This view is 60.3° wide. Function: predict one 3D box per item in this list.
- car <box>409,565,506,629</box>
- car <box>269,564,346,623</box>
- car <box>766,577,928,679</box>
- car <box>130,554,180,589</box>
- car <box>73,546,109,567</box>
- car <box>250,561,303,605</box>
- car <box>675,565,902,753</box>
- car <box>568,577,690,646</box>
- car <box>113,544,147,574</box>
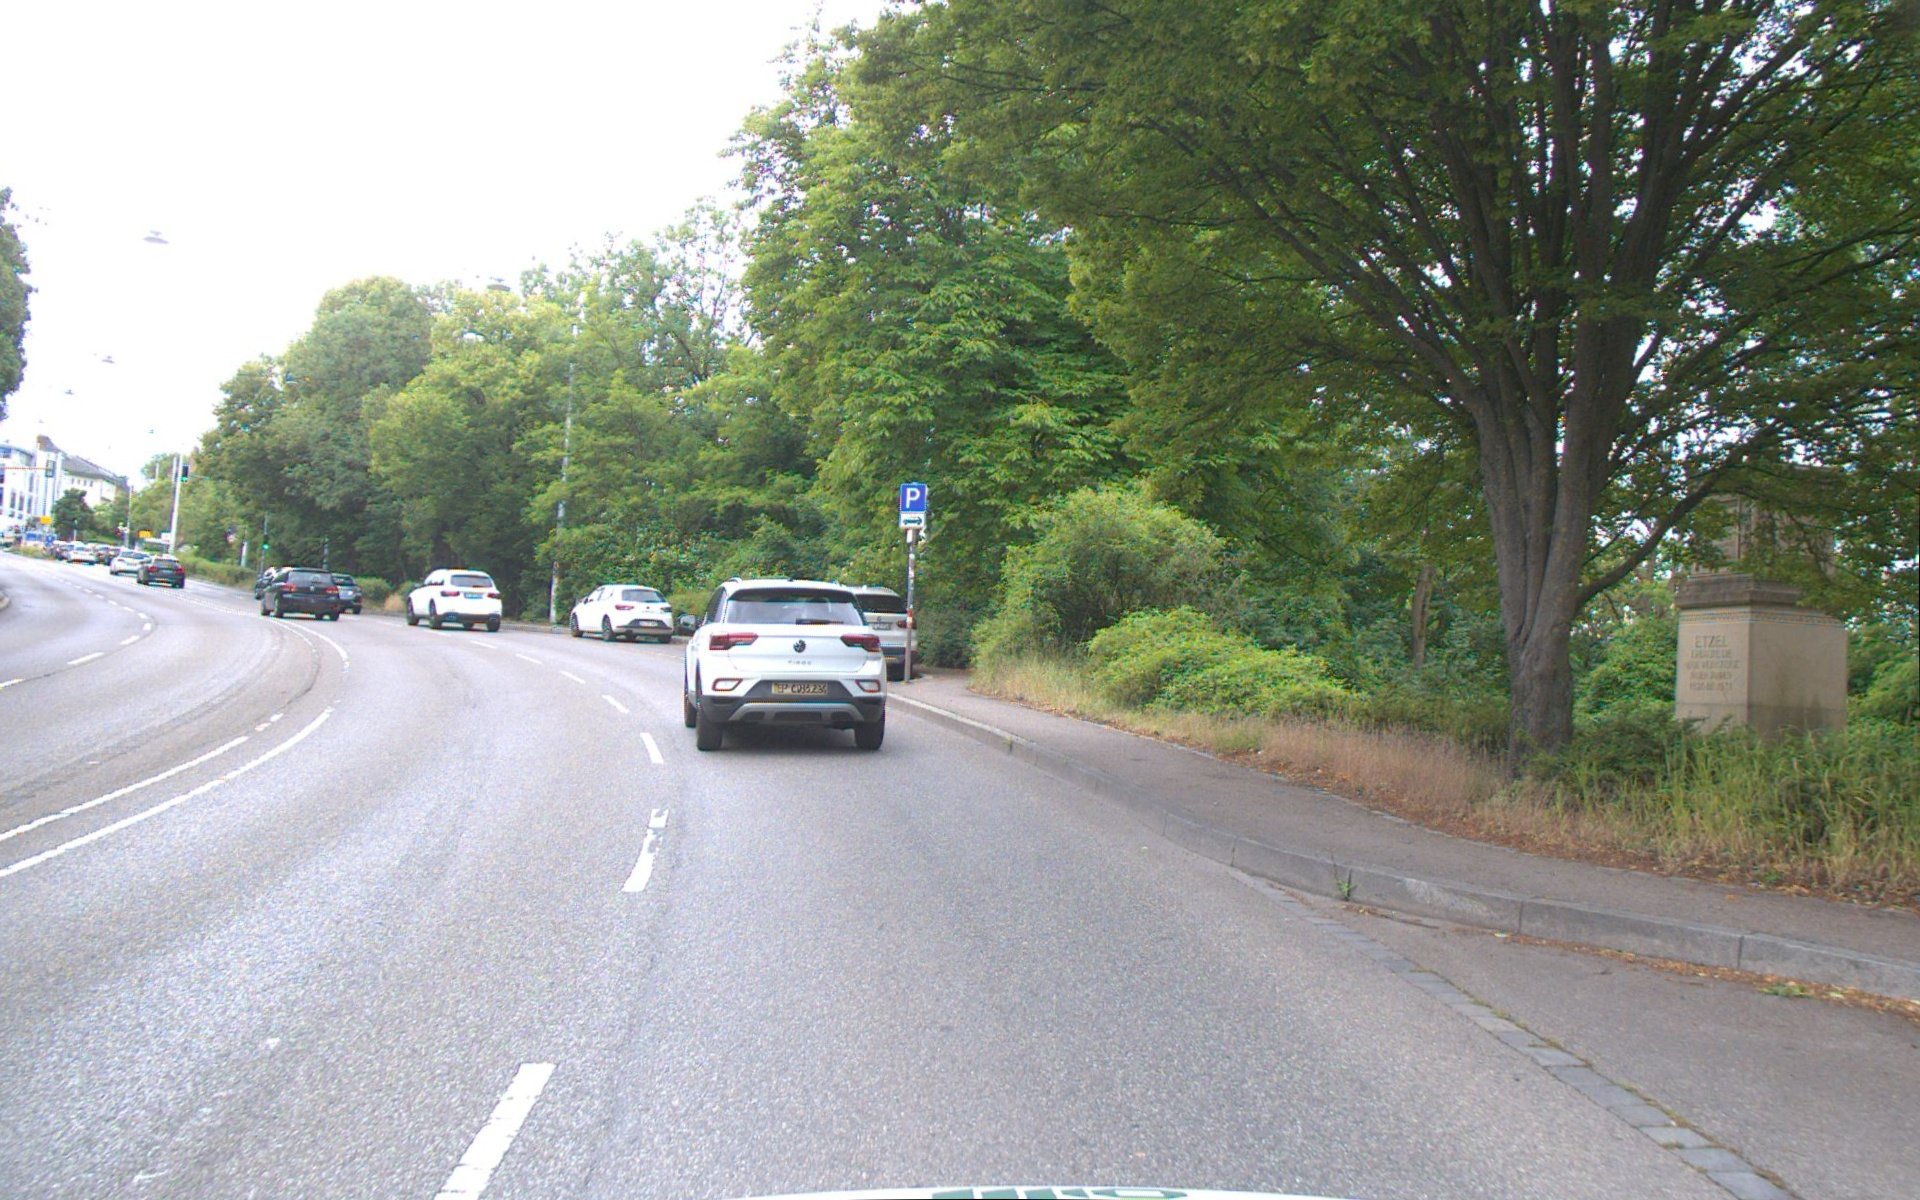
[{"bbox_3d":[-14.223,-0.054,46.675,1.831,1.733,3.961,0,-1,-29],"label":"car"},{"bbox_3d":[-19.067,-0.224,48.311,1.923,1.491,3.974,4,0,-22],"label":"car"},{"bbox_3d":[-2.110,0.446,29.654,1.733,1.681,4.354,1,0,-20],"label":"car"},{"bbox_3d":[-40.204,-1.428,82.659,1.967,1.512,3.971,4,0,-24],"label":"car"},{"bbox_3d":[-71.841,-3.638,136.852,1.964,1.554,3.978,4,0,-19],"label":"car"},{"bbox_3d":[-28.732,-0.744,69.488,1.744,1.634,3.968,4,0,-26],"label":"car"},{"bbox_3d":[-1.798,0.501,16.479,1.964,1.624,3.992,1,0,-9],"label":"car"},{"bbox_3d":[-8.807,0.267,43.737,1.714,1.508,4.655,4,0,-30],"label":"car"},{"bbox_3d":[-49.420,-2.474,98.519,1.690,1.617,3.967,4,0,-27],"label":"car"}]
